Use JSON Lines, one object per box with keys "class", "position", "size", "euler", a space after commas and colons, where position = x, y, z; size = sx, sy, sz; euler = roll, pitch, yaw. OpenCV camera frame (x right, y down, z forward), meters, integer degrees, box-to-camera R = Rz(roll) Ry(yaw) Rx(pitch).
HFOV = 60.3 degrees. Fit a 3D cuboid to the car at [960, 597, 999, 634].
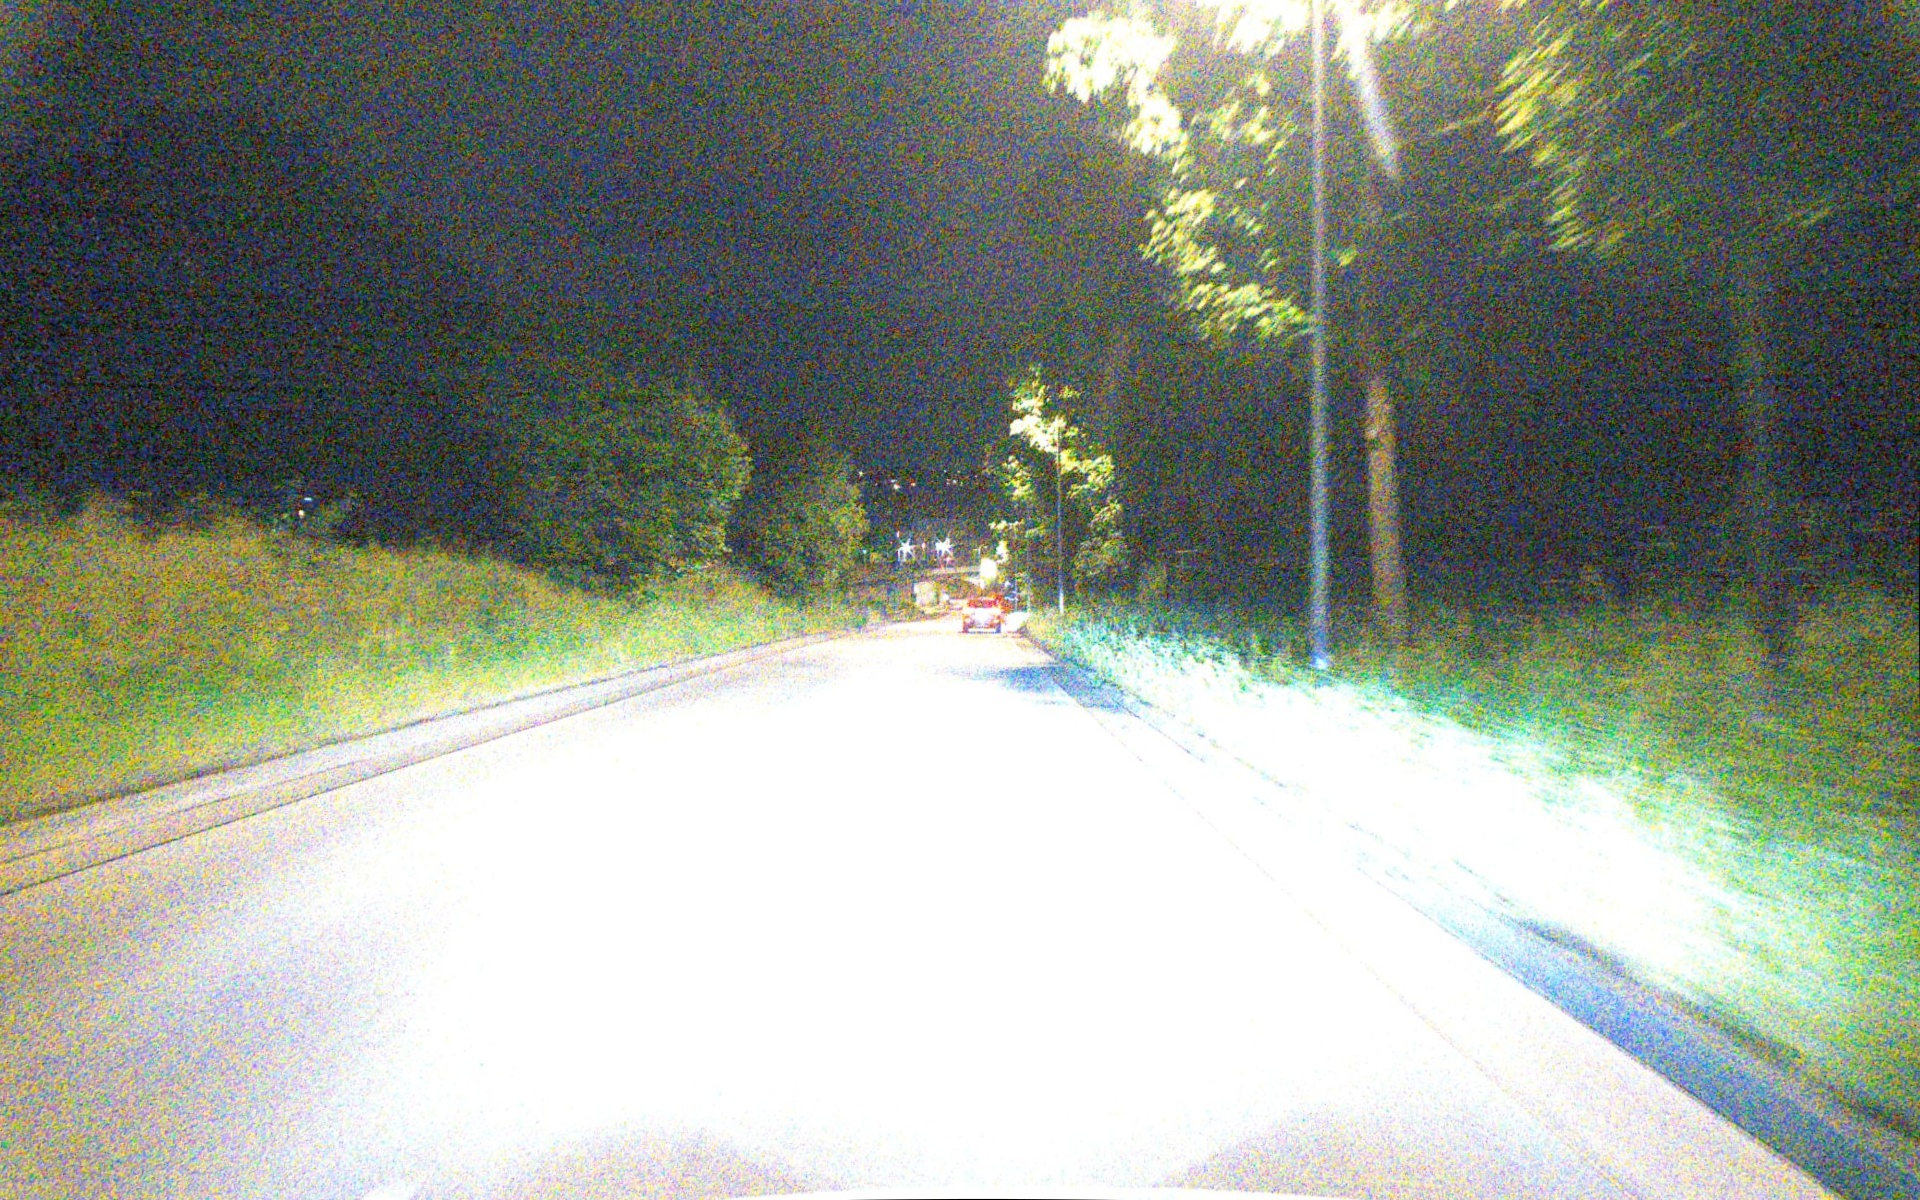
{"class": "car", "position": [0.928, 0.689, 76.228], "size": [1.726, 1.670, 3.724], "euler": [0, 0, 2]}
